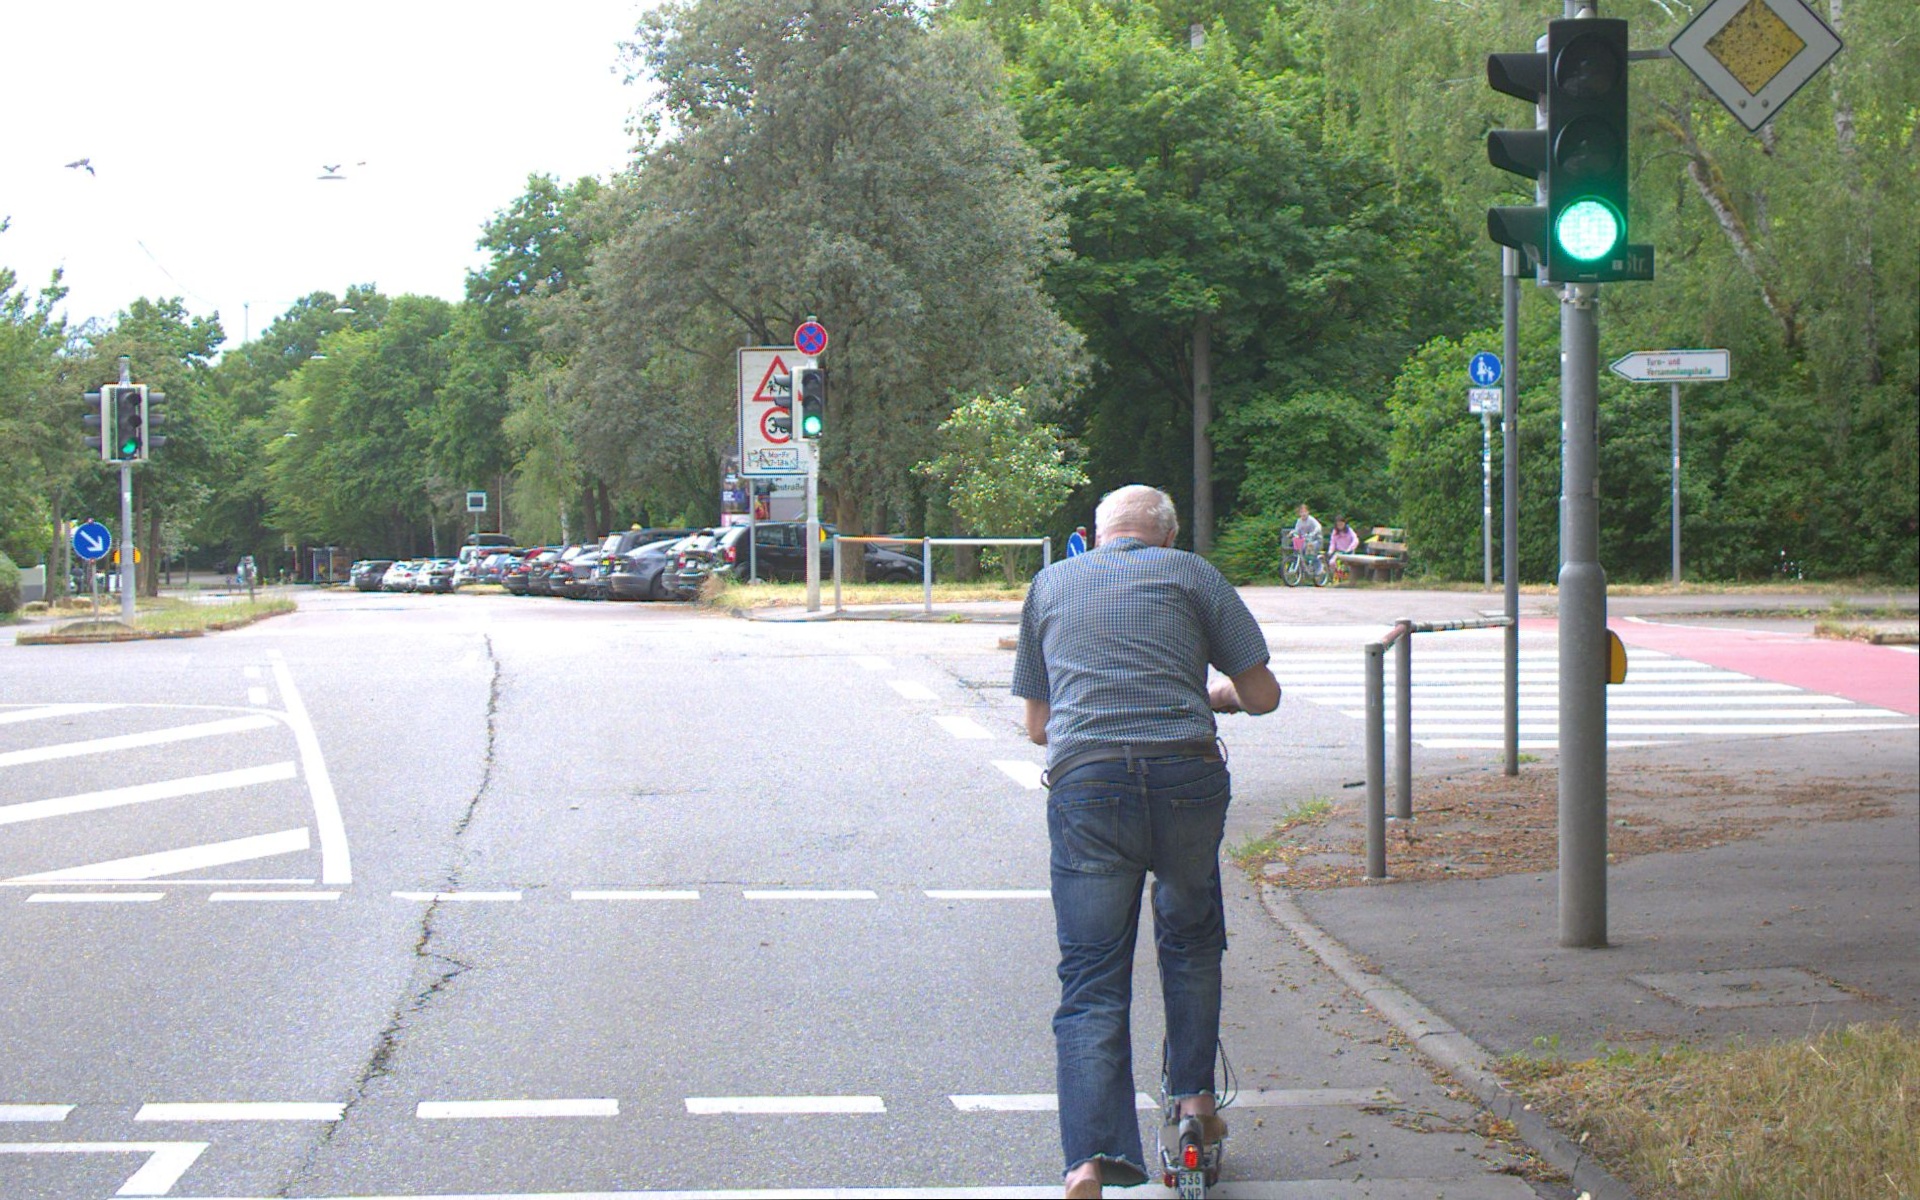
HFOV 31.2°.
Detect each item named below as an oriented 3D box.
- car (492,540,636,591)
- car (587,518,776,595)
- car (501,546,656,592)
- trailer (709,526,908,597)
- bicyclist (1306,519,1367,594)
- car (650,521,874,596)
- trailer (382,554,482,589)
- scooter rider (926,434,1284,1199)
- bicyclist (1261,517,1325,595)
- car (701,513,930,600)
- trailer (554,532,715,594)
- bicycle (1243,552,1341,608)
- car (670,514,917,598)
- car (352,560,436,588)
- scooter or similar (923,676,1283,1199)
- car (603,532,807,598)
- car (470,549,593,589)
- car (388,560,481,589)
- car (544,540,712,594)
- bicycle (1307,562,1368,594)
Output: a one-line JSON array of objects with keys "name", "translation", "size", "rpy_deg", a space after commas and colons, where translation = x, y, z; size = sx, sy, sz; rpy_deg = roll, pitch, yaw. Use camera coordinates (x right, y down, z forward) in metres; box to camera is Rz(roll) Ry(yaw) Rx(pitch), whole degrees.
[{"name": "car", "translation": [-12.261, -1.066, 106.644], "size": [4.072, 1.510, 1.733], "rpy_deg": [-1, 1, -33]}, {"name": "car", "translation": [-6.383, -0.997, 78.771], "size": [3.985, 1.719, 1.681], "rpy_deg": [-1, 0, -20]}, {"name": "car", "translation": [-11.516, -0.938, 103.892], "size": [4.312, 1.336, 1.734], "rpy_deg": [-1, 0, -25]}, {"name": "trailer", "translation": [-2.854, -0.725, 64.740], "size": [3.401, 1.262, 1.617], "rpy_deg": [-1, 0, -21]}, {"name": "bicyclist", "translation": [6.055, -0.693, 55.255], "size": [0.519, 1.183, 0.965], "rpy_deg": [-2, -1, 38]}, {"name": "car", "translation": [-4.006, -0.845, 69.503], "size": [4.218, 1.459, 1.635], "rpy_deg": [-1, 0, -20]}, {"name": "trailer", "translation": [-23.910, -1.281, 155.670], "size": [4.154, 1.568, 1.712], "rpy_deg": [0, 0, -30]}, {"name": "scooter rider", "translation": [0.342, 0.510, 7.376], "size": [0.681, 1.724, 1.196], "rpy_deg": [0, 2, 6]}, {"name": "bicyclist", "translation": [5.228, -0.691, 53.923], "size": [0.641, 1.157, 0.802], "rpy_deg": [3, 6, 43]}, {"name": "car", "translation": [-2.503, -0.760, 59.250], "size": [3.714, 1.471, 1.577], "rpy_deg": [0, 1, -14]}, {"name": "trailer", "translation": [-8.157, -0.932, 86.165], "size": [3.687, 1.530, 1.646], "rpy_deg": [0, 0, -22]}, {"name": "bicycle", "translation": [5.216, -0.320, 53.942], "size": [0.641, 0.755, 1.677], "rpy_deg": [3, 6, 43]}, {"name": "car", "translation": [-2.982, -0.792, 61.637], "size": [4.134, 1.471, 1.577], "rpy_deg": [-1, 0, -22]}, {"name": "car", "translation": [-28.990, -1.330, 176.125], "size": [3.884, 1.424, 1.743], "rpy_deg": [-1, 0, -31]}, {"name": "scooter or similar", "translation": [0.349, 0.781, 7.512], "size": [0.681, 1.135, 1.459], "rpy_deg": [0, 2, 6]}, {"name": "car", "translation": [-5.649, -0.782, 76.173], "size": [4.158, 1.402, 1.698], "rpy_deg": [-1, 0, -22]}, {"name": "car", "translation": [-15.154, -1.094, 121.577], "size": [3.964, 1.401, 1.757], "rpy_deg": [0, 0, -26]}, {"name": "car", "translation": [-24.198, -1.185, 158.355], "size": [3.885, 1.305, 1.743], "rpy_deg": [-1, 0, -36]}, {"name": "car", "translation": [-8.538, -0.853, 88.427], "size": [4.036, 1.323, 1.560], "rpy_deg": [-1, 0, -20]}, {"name": "bicycle", "translation": [6.073, -0.349, 55.243], "size": [0.519, 0.496, 0.986], "rpy_deg": [-2, -1, 38]}]
